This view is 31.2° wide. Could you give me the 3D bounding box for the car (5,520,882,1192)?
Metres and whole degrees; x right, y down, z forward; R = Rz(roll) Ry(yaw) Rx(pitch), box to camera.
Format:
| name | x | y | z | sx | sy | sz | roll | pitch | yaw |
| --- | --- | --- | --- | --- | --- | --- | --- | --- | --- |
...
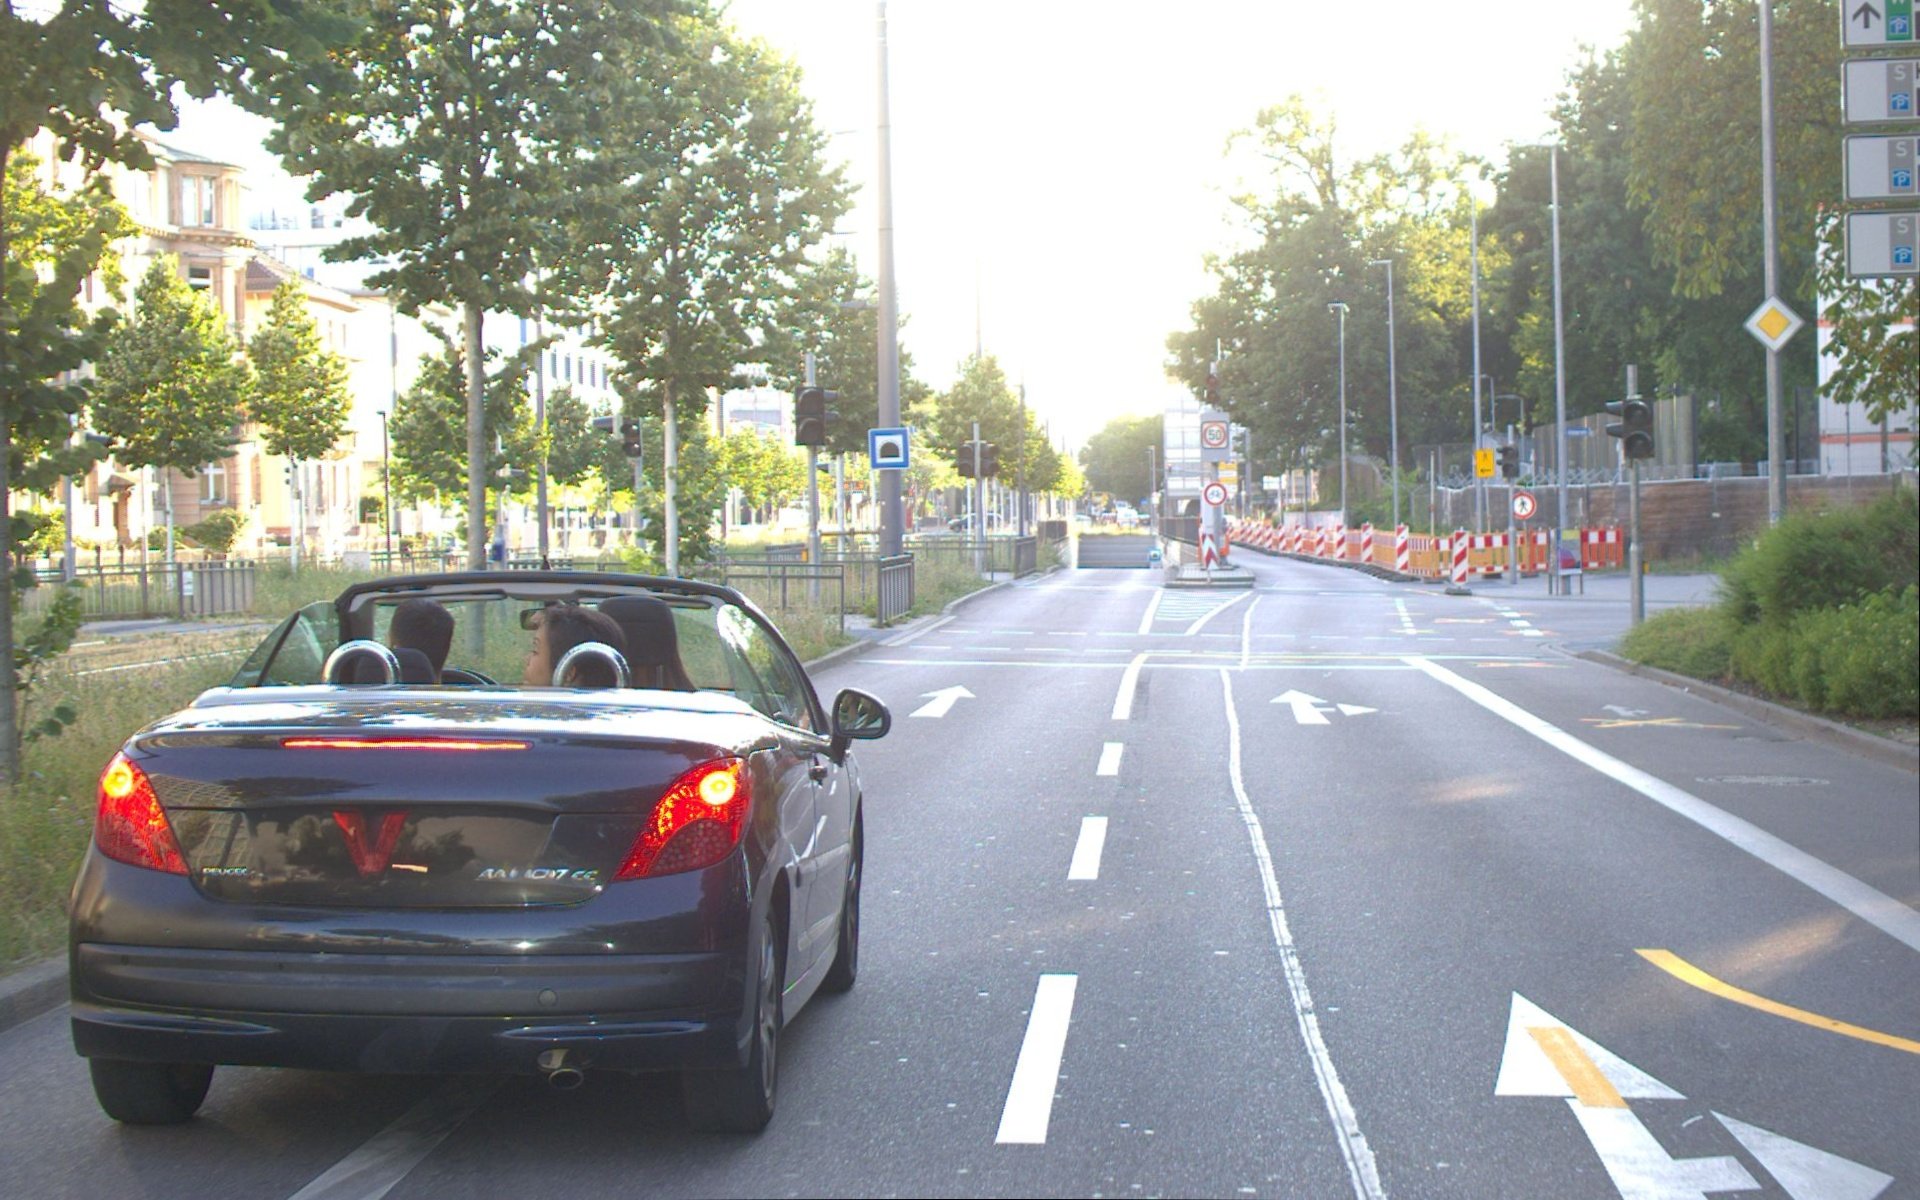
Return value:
| name | x | y | z | sx | sy | sz | roll | pitch | yaw |
| --- | --- | --- | --- | --- | --- | --- | --- | --- | --- |
| car | -1.218 | 0.530 | 9.702 | 1.719 | 1.444 | 3.901 | 1 | 2 | 3 |
